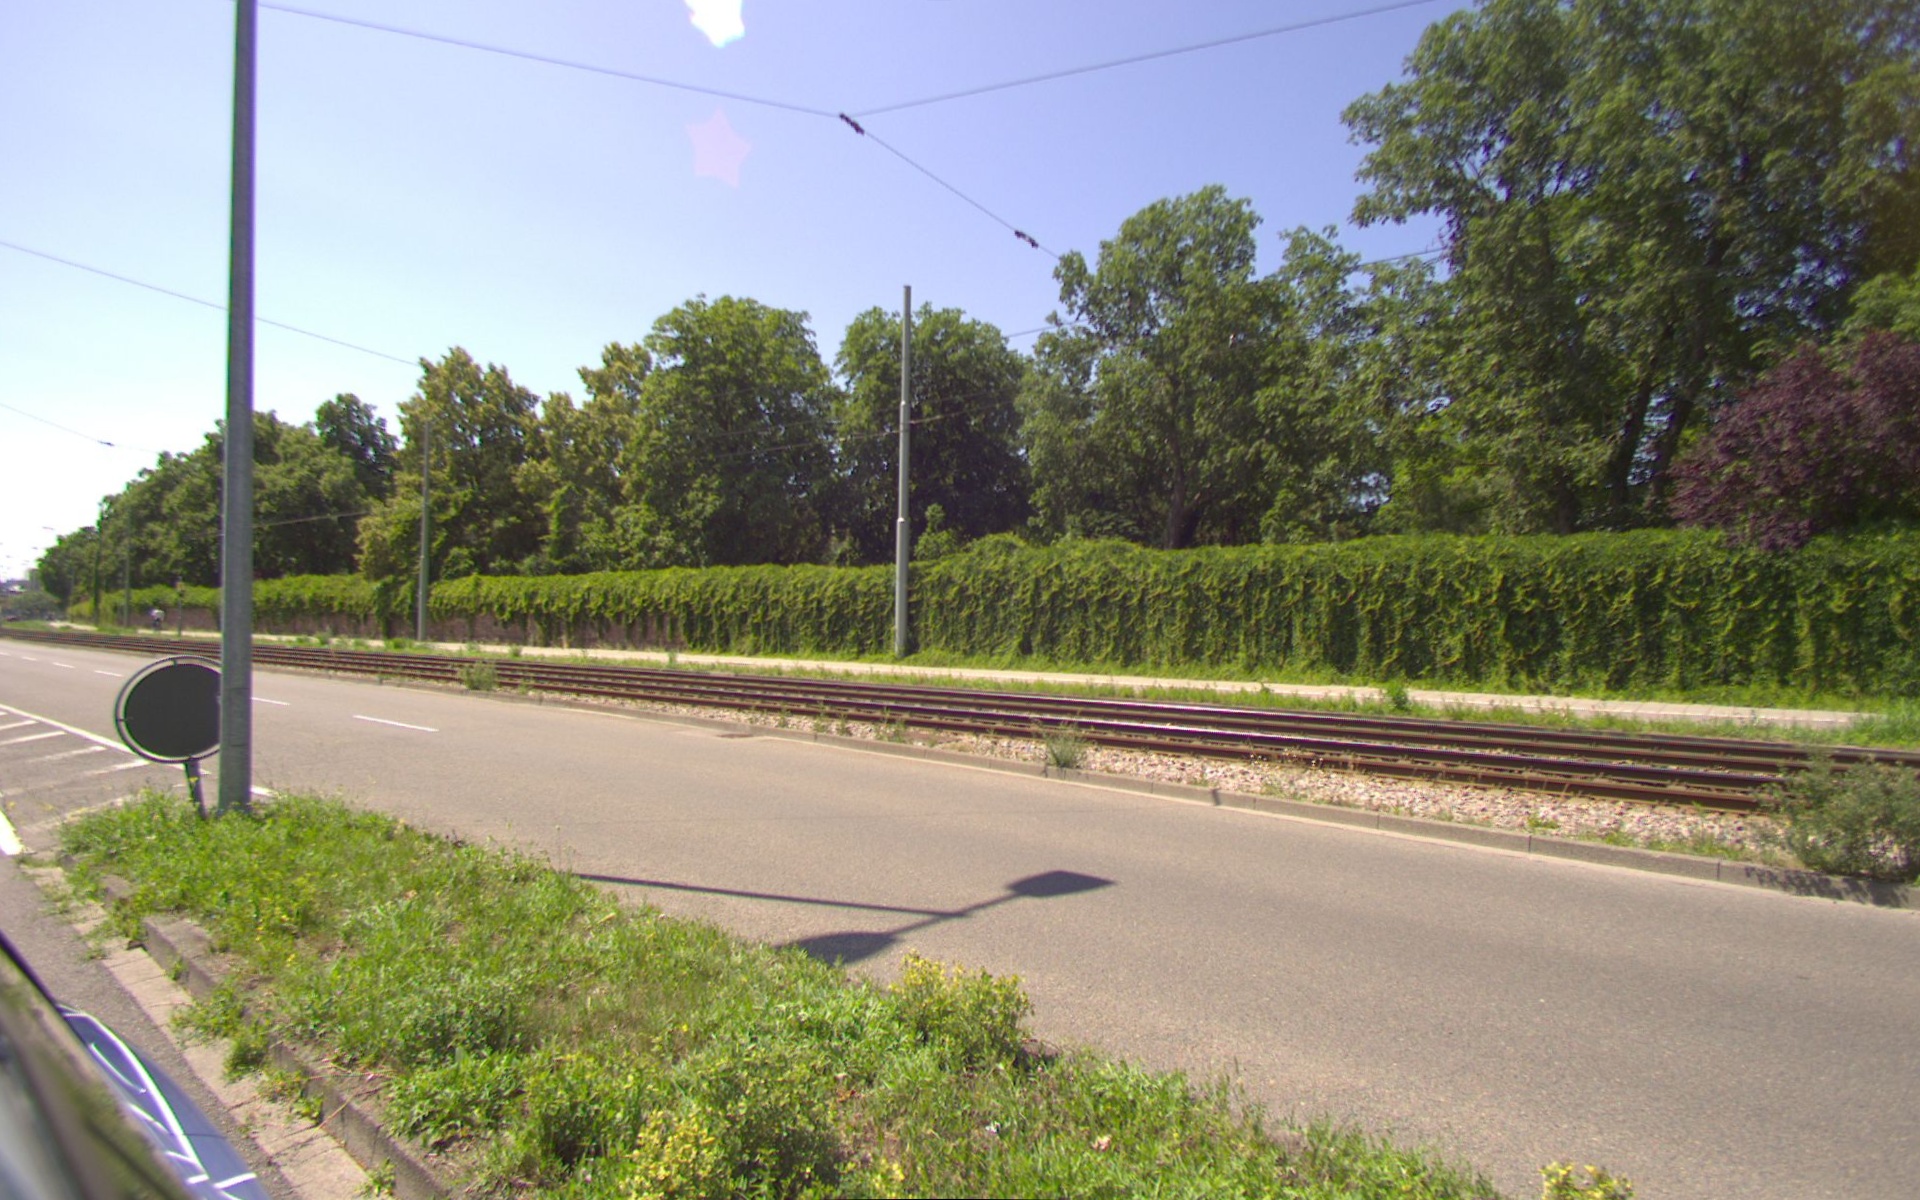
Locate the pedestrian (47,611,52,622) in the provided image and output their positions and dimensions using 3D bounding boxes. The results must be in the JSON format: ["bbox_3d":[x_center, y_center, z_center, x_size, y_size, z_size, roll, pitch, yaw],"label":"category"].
[{"bbox_3d":[-139.805,2.540,155.399,0.302,1.677,0.447,-2,-1,40],"label":"pedestrian"}]

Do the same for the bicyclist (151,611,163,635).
[{"bbox_3d":[-55.369,1.598,69.773,0.768,1.624,0.477,-1,0,40],"label":"bicyclist"}]

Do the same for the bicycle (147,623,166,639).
[{"bbox_3d":[-55.410,2.137,69.800,1.976,1.063,0.610,0,0,40],"label":"bicycle"}]
